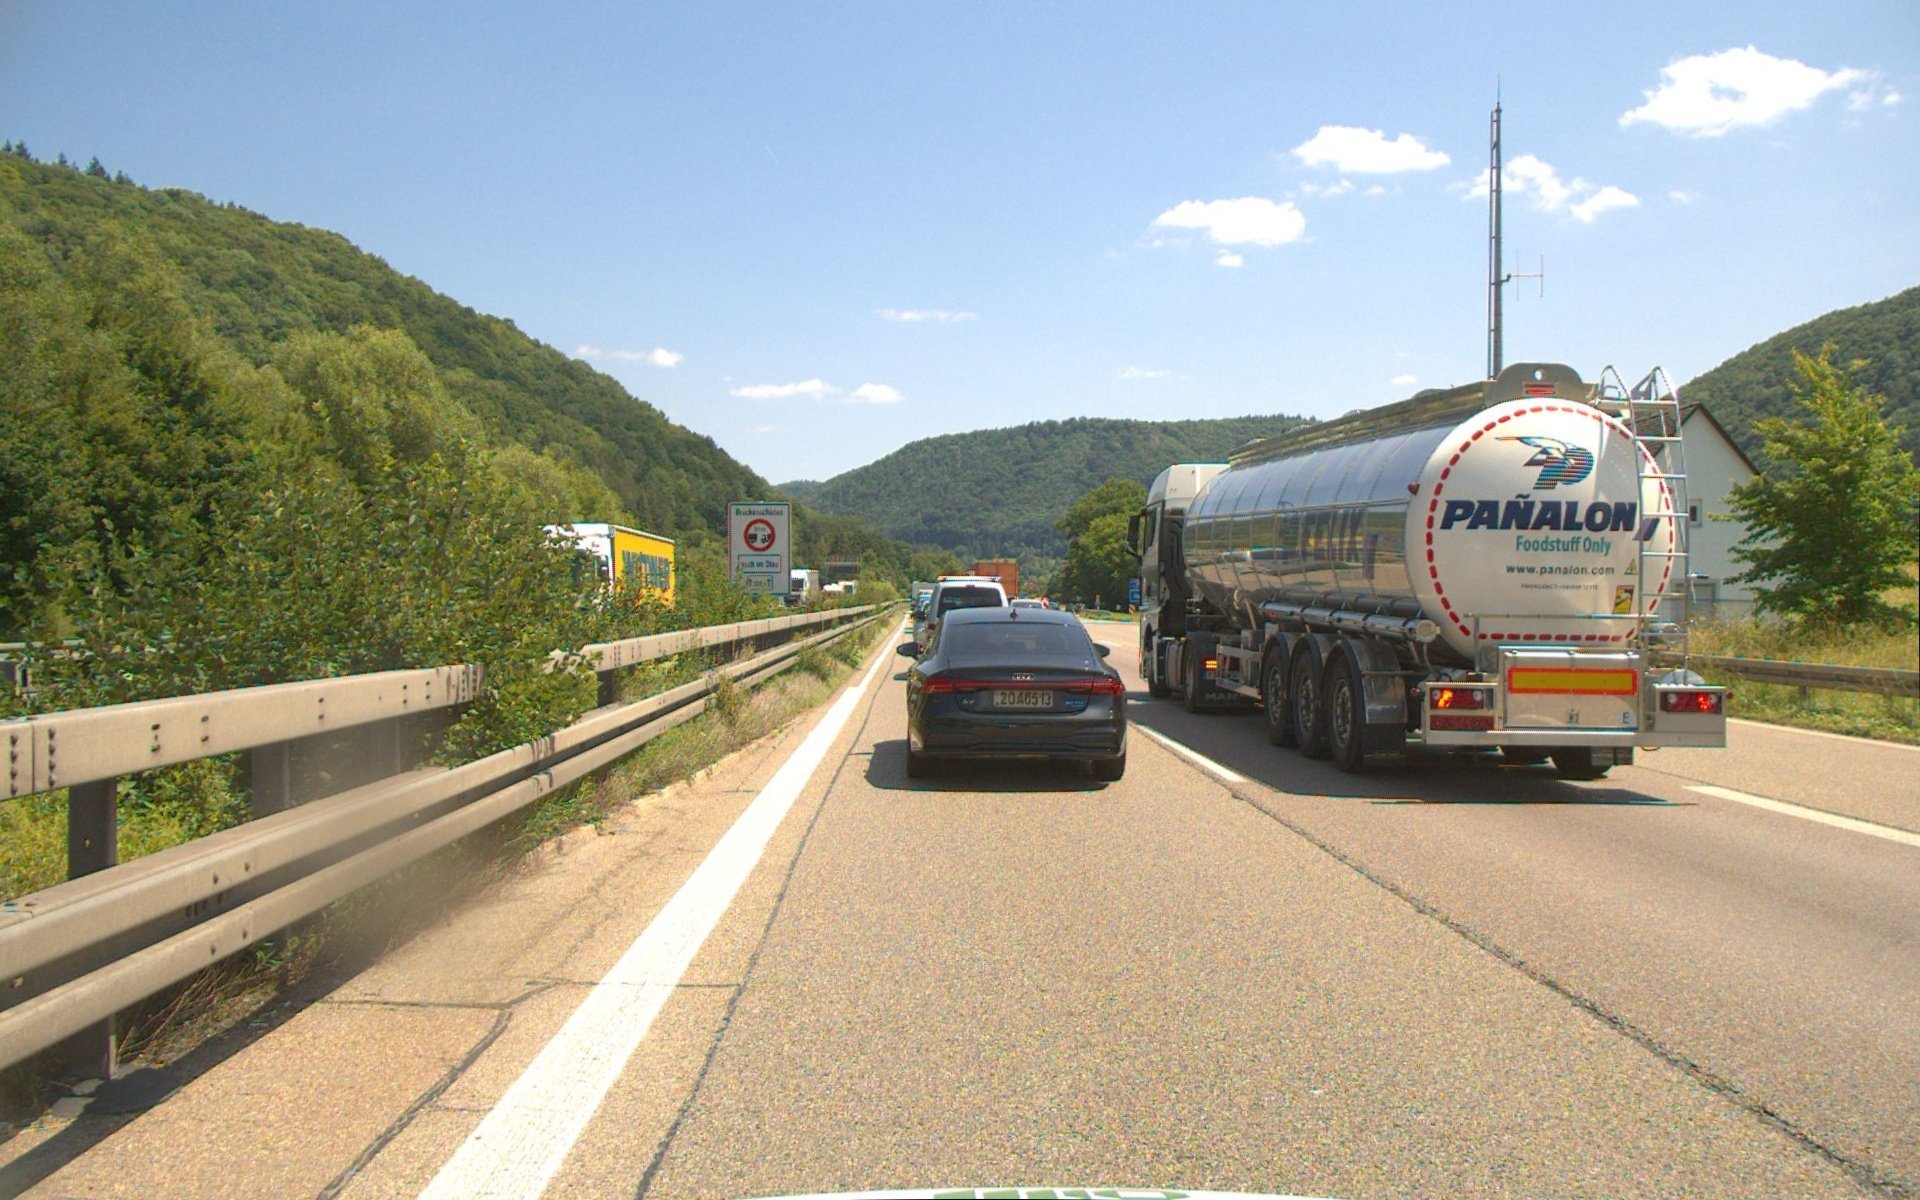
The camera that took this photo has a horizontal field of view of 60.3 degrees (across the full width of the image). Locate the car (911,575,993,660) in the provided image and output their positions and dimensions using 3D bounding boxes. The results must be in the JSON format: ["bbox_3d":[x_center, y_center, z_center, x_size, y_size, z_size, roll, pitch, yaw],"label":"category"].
[{"bbox_3d":[-0.240,0.414,42.023,1.953,2.049,3.999,1,0,-1],"label":"car"}]

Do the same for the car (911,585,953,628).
[{"bbox_3d":[-1.397,0.301,81.198,1.953,2.049,3.999,0,0,-2],"label":"car"}]

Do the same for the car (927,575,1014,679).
[{"bbox_3d":[0.152,0.491,31.978,1.544,1.865,3.999,1,0,-1],"label":"car"}]

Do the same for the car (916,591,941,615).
[{"bbox_3d":[-2.175,0.183,115.559,1.677,1.647,4.000,0,0,0],"label":"car"}]

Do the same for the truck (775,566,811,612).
[{"bbox_3d":[-14.863,-0.969,147.484,2.672,4.071,5.368,0,0,-1],"label":"truck"}]

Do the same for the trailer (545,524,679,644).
[{"bbox_3d":[-12.949,-0.553,62.809,2.528,4.075,12.599,1,0,-1],"label":"trailer"}]

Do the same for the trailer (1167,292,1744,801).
[{"bbox_3d":[4.479,-0.406,18.369,2.487,3.801,11.887,1,0,-2],"label":"trailer"}]

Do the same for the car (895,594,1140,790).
[{"bbox_3d":[0.371,0.714,14.897,1.813,1.514,4.080,1,0,-4],"label":"car"}]

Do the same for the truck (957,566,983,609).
[{"bbox_3d":[0.797,-1.068,142.382,1.953,3.507,11.808,1,0,-1],"label":"truck"}]

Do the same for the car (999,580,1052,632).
[{"bbox_3d":[2.661,0.229,67.950,1.953,2.049,3.999,0,0,-1],"label":"car"}]

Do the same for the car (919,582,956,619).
[{"bbox_3d":[-1.010,0.017,77.467,1.677,1.647,4.000,0,0,0],"label":"car"}]

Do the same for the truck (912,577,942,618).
[{"bbox_3d":[-2.885,-0.219,148.709,2.575,3.501,11.418,0,0,-1],"label":"truck"}]

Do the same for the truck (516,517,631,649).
[{"bbox_3d":[-12.849,-0.538,55.410,2.496,4.162,5.849,0,0,-1],"label":"truck"}]

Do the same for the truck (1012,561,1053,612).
[{"bbox_3d":[6.094,-1.117,140.946,2.760,4.073,14.953,1,0,0],"label":"truck"}]

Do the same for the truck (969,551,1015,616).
[{"bbox_3d":[2.068,-1.056,112.409,2.760,4.073,14.953,1,0,0],"label":"truck"}]

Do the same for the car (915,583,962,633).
[{"bbox_3d":[-0.940,0.326,71.248,1.953,2.049,3.999,0,0,-2],"label":"car"}]

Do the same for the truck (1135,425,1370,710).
[{"bbox_3d":[4.245,-0.440,25.025,2.461,3.824,5.243,1,0,-2],"label":"truck"}]

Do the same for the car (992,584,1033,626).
[{"bbox_3d":[2.615,0.231,83.116,1.953,2.038,4.000,0,0,0],"label":"car"}]
